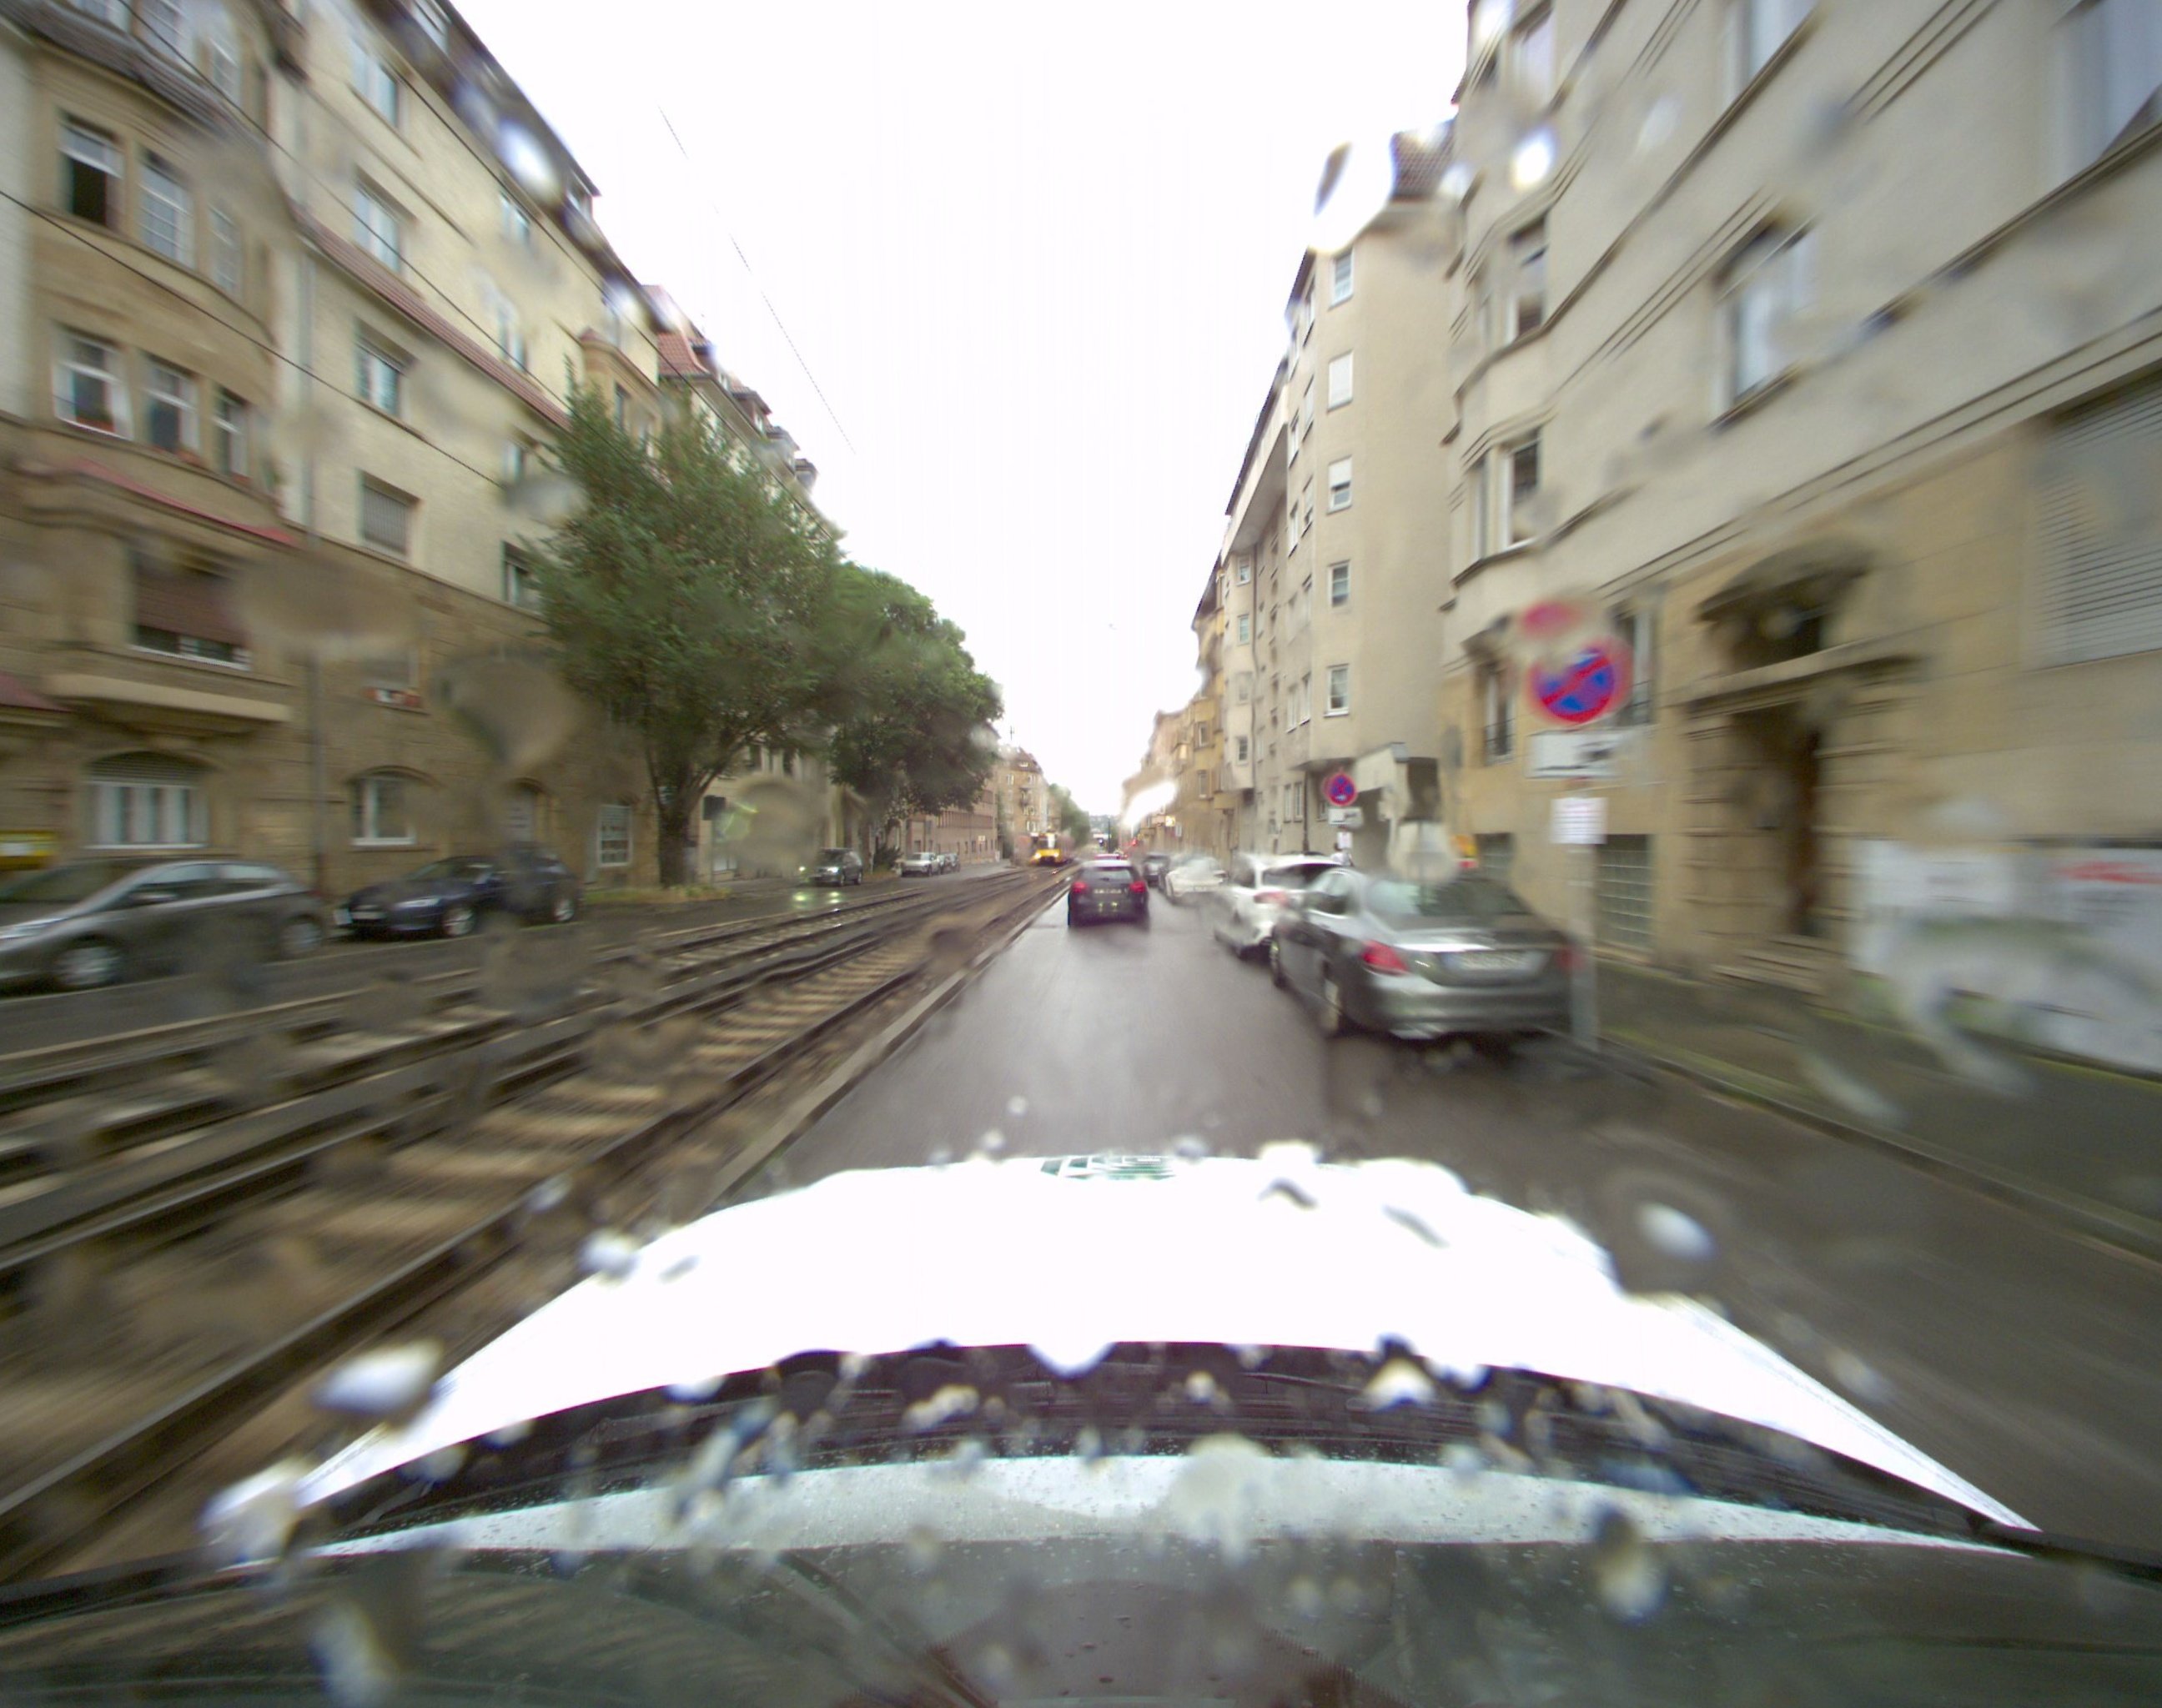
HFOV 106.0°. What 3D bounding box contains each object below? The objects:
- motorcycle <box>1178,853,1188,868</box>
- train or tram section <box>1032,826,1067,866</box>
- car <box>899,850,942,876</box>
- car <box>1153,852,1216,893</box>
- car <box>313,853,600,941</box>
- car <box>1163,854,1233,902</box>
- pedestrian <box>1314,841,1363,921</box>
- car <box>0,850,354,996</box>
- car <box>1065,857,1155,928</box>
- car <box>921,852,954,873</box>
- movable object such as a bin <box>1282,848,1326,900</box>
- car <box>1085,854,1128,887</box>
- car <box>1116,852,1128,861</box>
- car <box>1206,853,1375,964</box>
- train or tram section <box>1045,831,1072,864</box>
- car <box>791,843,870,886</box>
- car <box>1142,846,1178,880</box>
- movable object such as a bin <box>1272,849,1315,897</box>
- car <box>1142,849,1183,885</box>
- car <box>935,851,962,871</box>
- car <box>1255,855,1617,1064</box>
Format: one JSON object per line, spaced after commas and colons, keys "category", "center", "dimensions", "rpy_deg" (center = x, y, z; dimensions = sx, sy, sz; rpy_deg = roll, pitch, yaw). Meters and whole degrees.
{"category": "motorcycle", "center": [8.481, 0.548, 67.788], "dimensions": [0.554, 1.160, 2.271], "rpy_deg": [-4, 0, 4]}
{"category": "train or tram section", "center": [-3.328, -0.833, 90.743], "dimensions": [2.735, 4.061, 17.219], "rpy_deg": [-1, 0, 1]}
{"category": "car", "center": [-10.644, 0.553, 54.320], "dimensions": [1.954, 1.605, 4.330], "rpy_deg": [0, 0, 1]}
{"category": "car", "center": [3.863, 0.679, 31.041], "dimensions": [1.826, 1.468, 4.374], "rpy_deg": [-1, -1, 0]}
{"category": "car", "center": [-11.903, 0.745, 16.098], "dimensions": [1.775, 1.460, 4.978], "rpy_deg": [-1, -1, 1]}
{"category": "car", "center": [3.685, 0.735, 26.371], "dimensions": [1.782, 1.385, 4.397], "rpy_deg": [-1, -1, 2]}
{"category": "pedestrian", "center": [5.555, 0.577, 17.608], "dimensions": [0.801, 1.687, 0.754], "rpy_deg": [-1, -1, 1]}
{"category": "car", "center": [-12.157, 0.752, 10.544], "dimensions": [1.684, 1.529, 4.176], "rpy_deg": [-1, -1, 1]}
{"category": "car", "center": [0.677, 0.798, 18.599], "dimensions": [1.827, 1.453, 3.904], "rpy_deg": [0, 0, 2]}
{"category": "car", "center": [-10.415, 0.602, 59.376], "dimensions": [1.660, 1.415, 3.689], "rpy_deg": [0, 0, 2]}
{"category": "movable object such as a bin", "center": [6.582, 0.578, 24.071], "dimensions": [0.976, 1.468, 1.273], "rpy_deg": [-1, -1, 2]}
{"category": "car", "center": [1.256, 0.759, 39.299], "dimensions": [1.986, 1.525, 4.248], "rpy_deg": [0, 0, 2]}
{"category": "car", "center": [7.006, 0.396, 138.201], "dimensions": [1.879, 1.525, 4.250], "rpy_deg": [0, 0, 4]}
{"category": "car", "center": [3.177, 0.754, 13.312], "dimensions": [1.705, 1.468, 4.776], "rpy_deg": [-1, -1, 2]}
{"category": "train or tram section", "center": [-2.842, -0.815, 106.970], "dimensions": [2.735, 4.061, 15.666], "rpy_deg": [-1, 0, 1]}
{"category": "car", "center": [-11.277, 0.413, 37.054], "dimensions": [1.946, 1.742, 4.779], "rpy_deg": [3, 0, 1]}
{"category": "car", "center": [4.330, 0.503, 45.024], "dimensions": [1.771, 1.750, 4.552], "rpy_deg": [-1, -1, 3]}
{"category": "movable object such as a bin", "center": [6.664, 0.593, 25.566], "dimensions": [1.014, 1.468, 1.323], "rpy_deg": [-1, -1, 2]}
{"category": "car", "center": [3.834, 0.603, 38.972], "dimensions": [1.833, 1.608, 4.766], "rpy_deg": [-1, -1, 4]}
{"category": "car", "center": [-10.225, 0.550, 63.139], "dimensions": [1.566, 1.466, 3.045], "rpy_deg": [0, 0, 1]}
{"category": "car", "center": [2.922, 0.743, 7.947], "dimensions": [1.703, 1.410, 4.822], "rpy_deg": [-1, -1, 4]}
